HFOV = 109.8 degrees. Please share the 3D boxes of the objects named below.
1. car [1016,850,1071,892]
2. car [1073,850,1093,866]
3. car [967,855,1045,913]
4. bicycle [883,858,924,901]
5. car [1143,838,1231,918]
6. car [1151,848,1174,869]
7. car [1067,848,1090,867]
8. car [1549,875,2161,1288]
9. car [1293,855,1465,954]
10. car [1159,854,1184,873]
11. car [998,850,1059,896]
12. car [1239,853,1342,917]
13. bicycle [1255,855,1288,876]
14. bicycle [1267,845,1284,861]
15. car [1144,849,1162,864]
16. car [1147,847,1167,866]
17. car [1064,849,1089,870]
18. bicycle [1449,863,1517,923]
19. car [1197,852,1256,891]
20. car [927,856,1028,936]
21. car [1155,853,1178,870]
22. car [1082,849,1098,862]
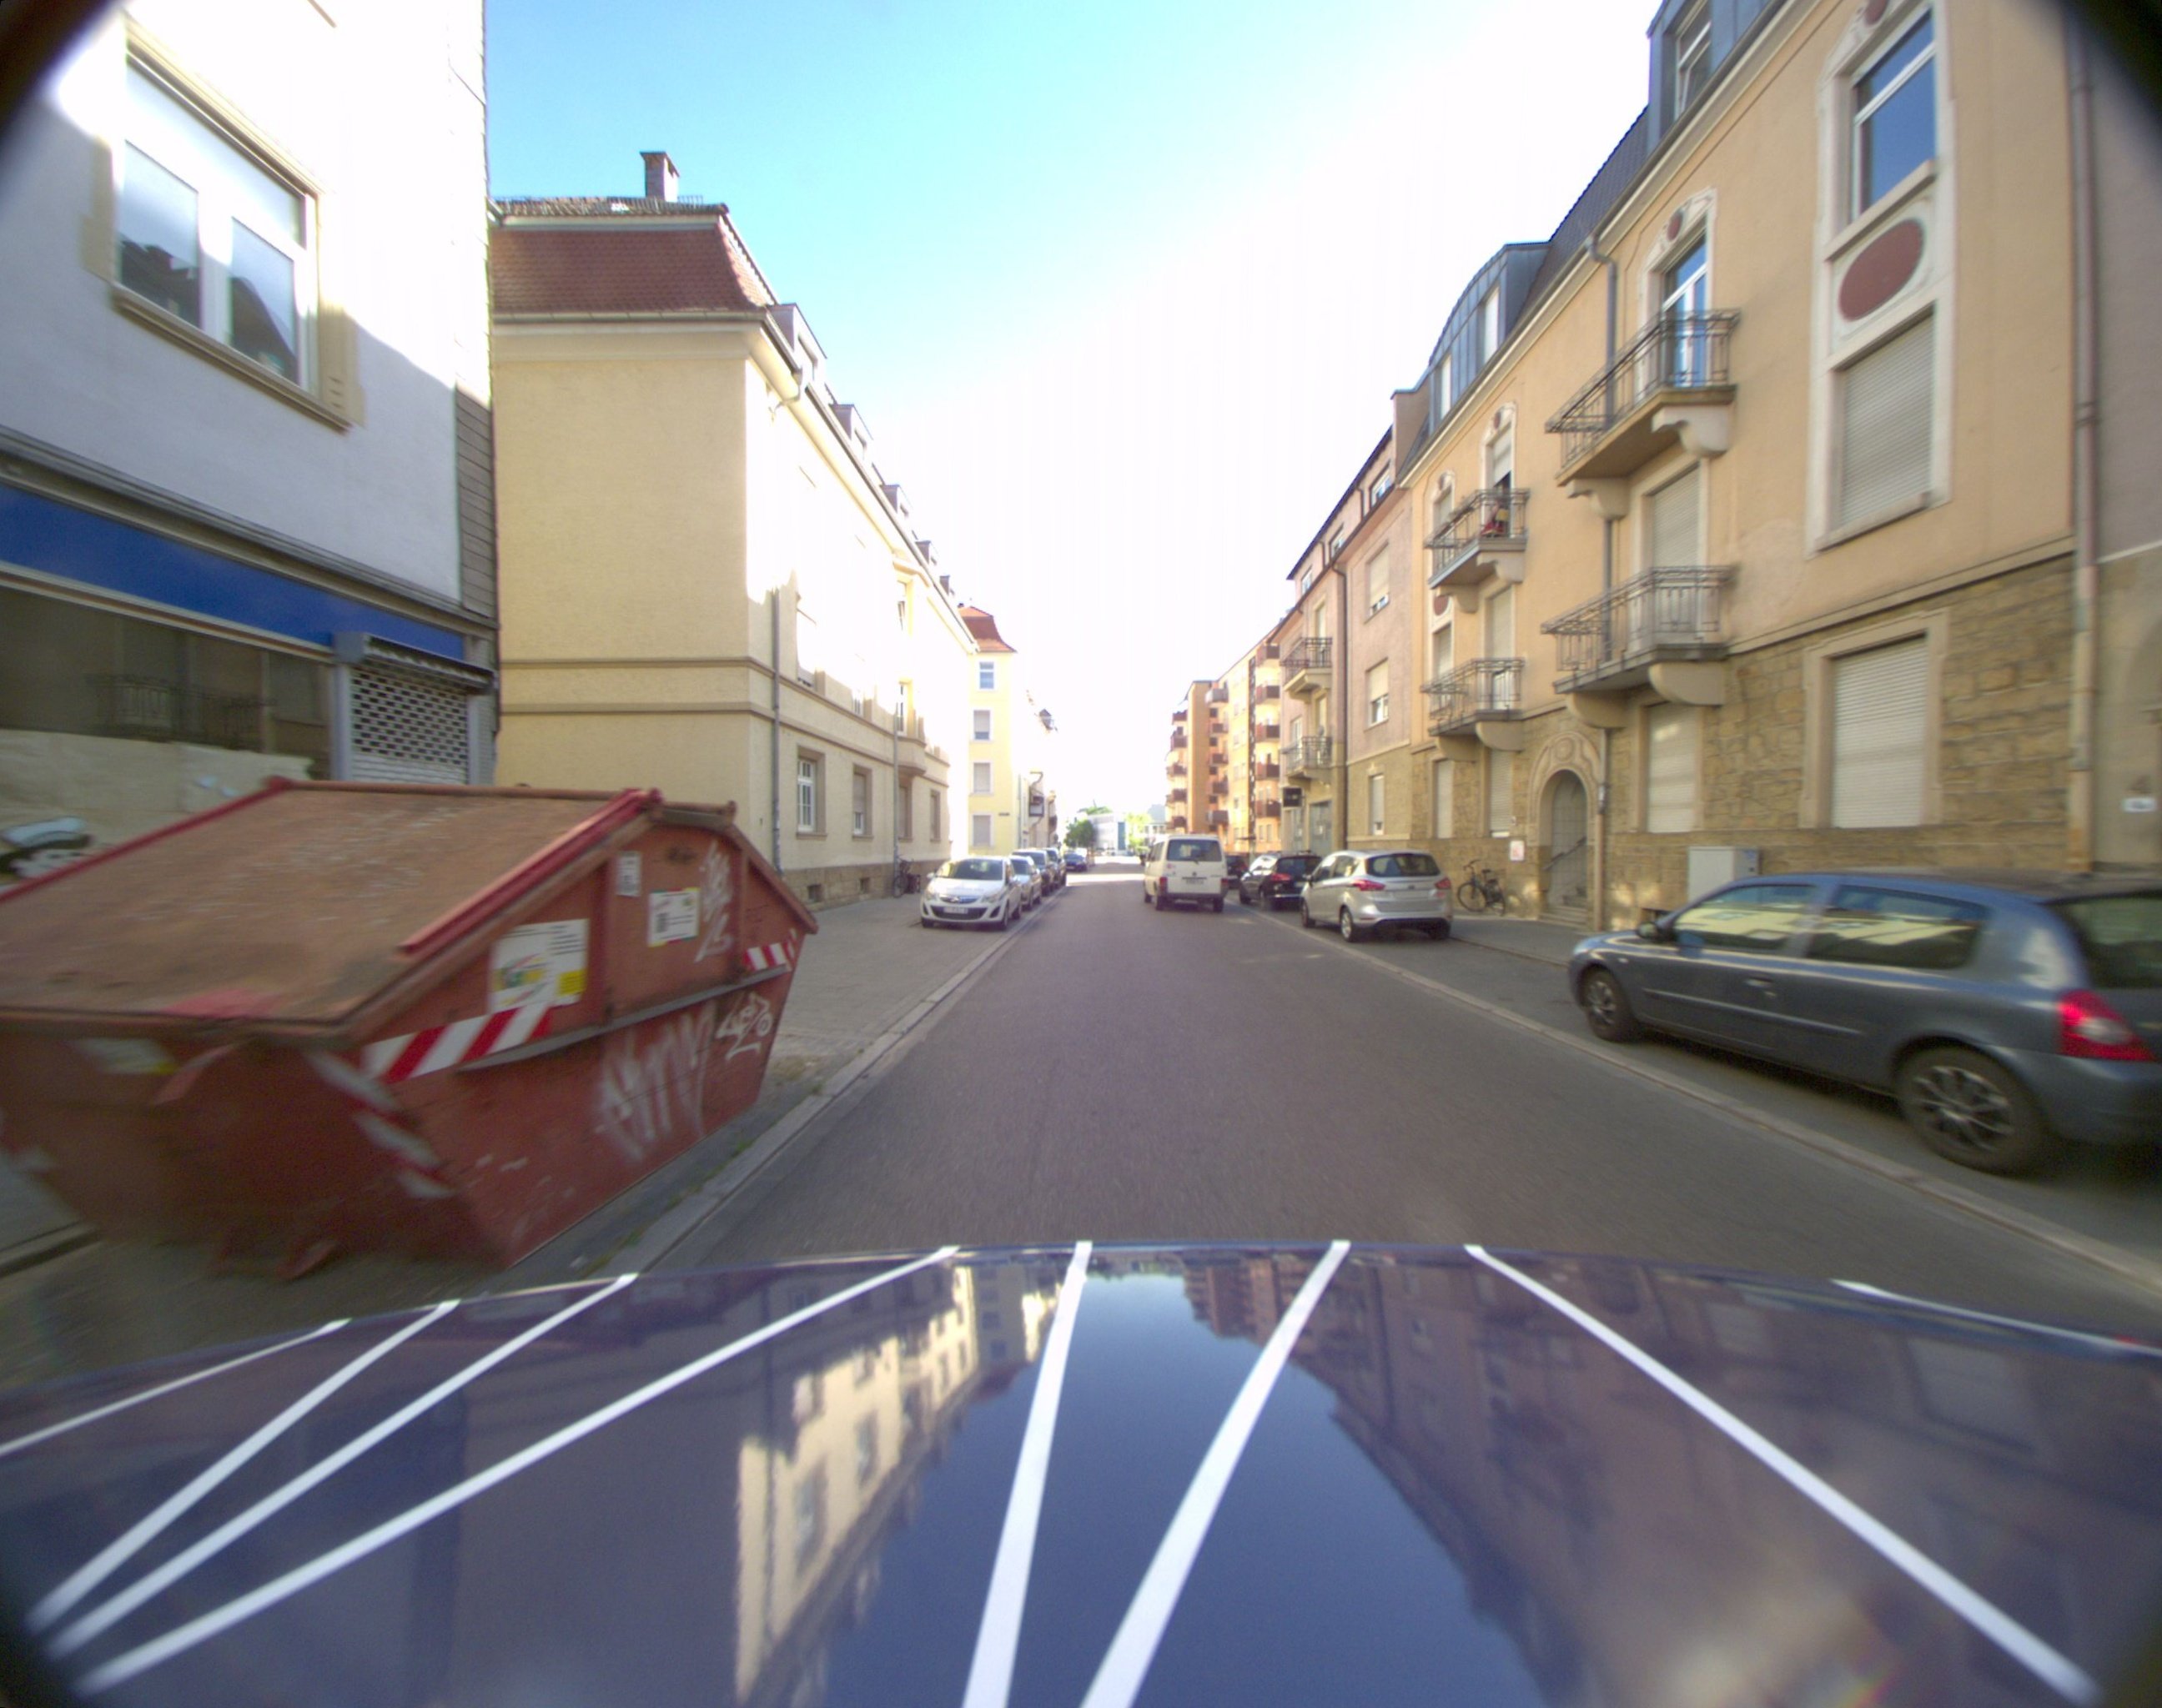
[{"bbox_3d":[-1.499,0.651,31.960,1.790,1.655,4.435,0,0,4],"label":"car"},{"bbox_3d":[0.191,0.357,68.110,1.708,1.417,3.722,0,0,0],"label":"car"},{"bbox_3d":[-2.017,0.768,21.468,1.656,1.456,4.094,0,0,2],"label":"car"},{"bbox_3d":[-5.282,0.734,22.708,0.832,1.194,1.955,0,1,-3],"label":"bicycle"},{"bbox_3d":[2.824,0.588,21.270,1.868,1.926,4.599,2,0,1],"label":"car"},{"bbox_3d":[7.478,0.374,70.118,1.822,1.867,4.111,0,0,3],"label":"car"},{"bbox_3d":[-0.213,0.298,61.771,1.708,1.417,3.722,1,1,2],"label":"car"},{"bbox_3d":[4.942,0.927,4.760,1.676,1.385,3.666,-3,0,-1],"label":"car"},{"bbox_3d":[5.248,0.807,13.912,1.719,1.529,3.723,-1,0,1],"label":"car"},{"bbox_3d":[7.060,0.747,59.314,1.678,1.414,3.501,0,0,3],"label":"car"},{"bbox_3d":[-1.825,0.623,27.535,1.683,1.537,3.915,1,0,4],"label":"car"},{"bbox_3d":[5.507,0.753,20.488,1.719,1.512,4.110,0,1,2],"label":"car"},{"bbox_3d":[10.486,0.641,41.917,1.663,1.140,0.593,0,1,-3],"label":"bicycle"},{"bbox_3d":[14.093,-0.073,55.072,0.688,1.101,1.805,0,0,-4],"label":"bicycle"},{"bbox_3d":[8.116,0.267,86.207,1.822,1.589,3.812,0,0,3],"label":"car"},{"bbox_3d":[7.567,0.203,76.047,1.822,1.867,4.111,0,0,3],"label":"car"},{"bbox_3d":[-0.326,0.352,56.305,1.708,1.417,3.722,1,1,2],"label":"car"},{"bbox_3d":[8.644,0.808,16.425,0.569,1.205,1.649,0,1,-1],"label":"bicycle"},{"bbox_3d":[5.820,0.658,30.773,1.718,1.378,3.865,-3,0,3],"label":"car"},{"bbox_3d":[-2.072,0.785,16.077,1.590,1.456,3.711,0,0,1],"label":"car"},{"bbox_3d":[7.168,0.617,63.635,1.678,1.414,3.286,0,0,3],"label":"car"},{"bbox_3d":[0.999,0.140,86.133,1.708,1.417,3.722,1,1,2],"label":"car"}]
